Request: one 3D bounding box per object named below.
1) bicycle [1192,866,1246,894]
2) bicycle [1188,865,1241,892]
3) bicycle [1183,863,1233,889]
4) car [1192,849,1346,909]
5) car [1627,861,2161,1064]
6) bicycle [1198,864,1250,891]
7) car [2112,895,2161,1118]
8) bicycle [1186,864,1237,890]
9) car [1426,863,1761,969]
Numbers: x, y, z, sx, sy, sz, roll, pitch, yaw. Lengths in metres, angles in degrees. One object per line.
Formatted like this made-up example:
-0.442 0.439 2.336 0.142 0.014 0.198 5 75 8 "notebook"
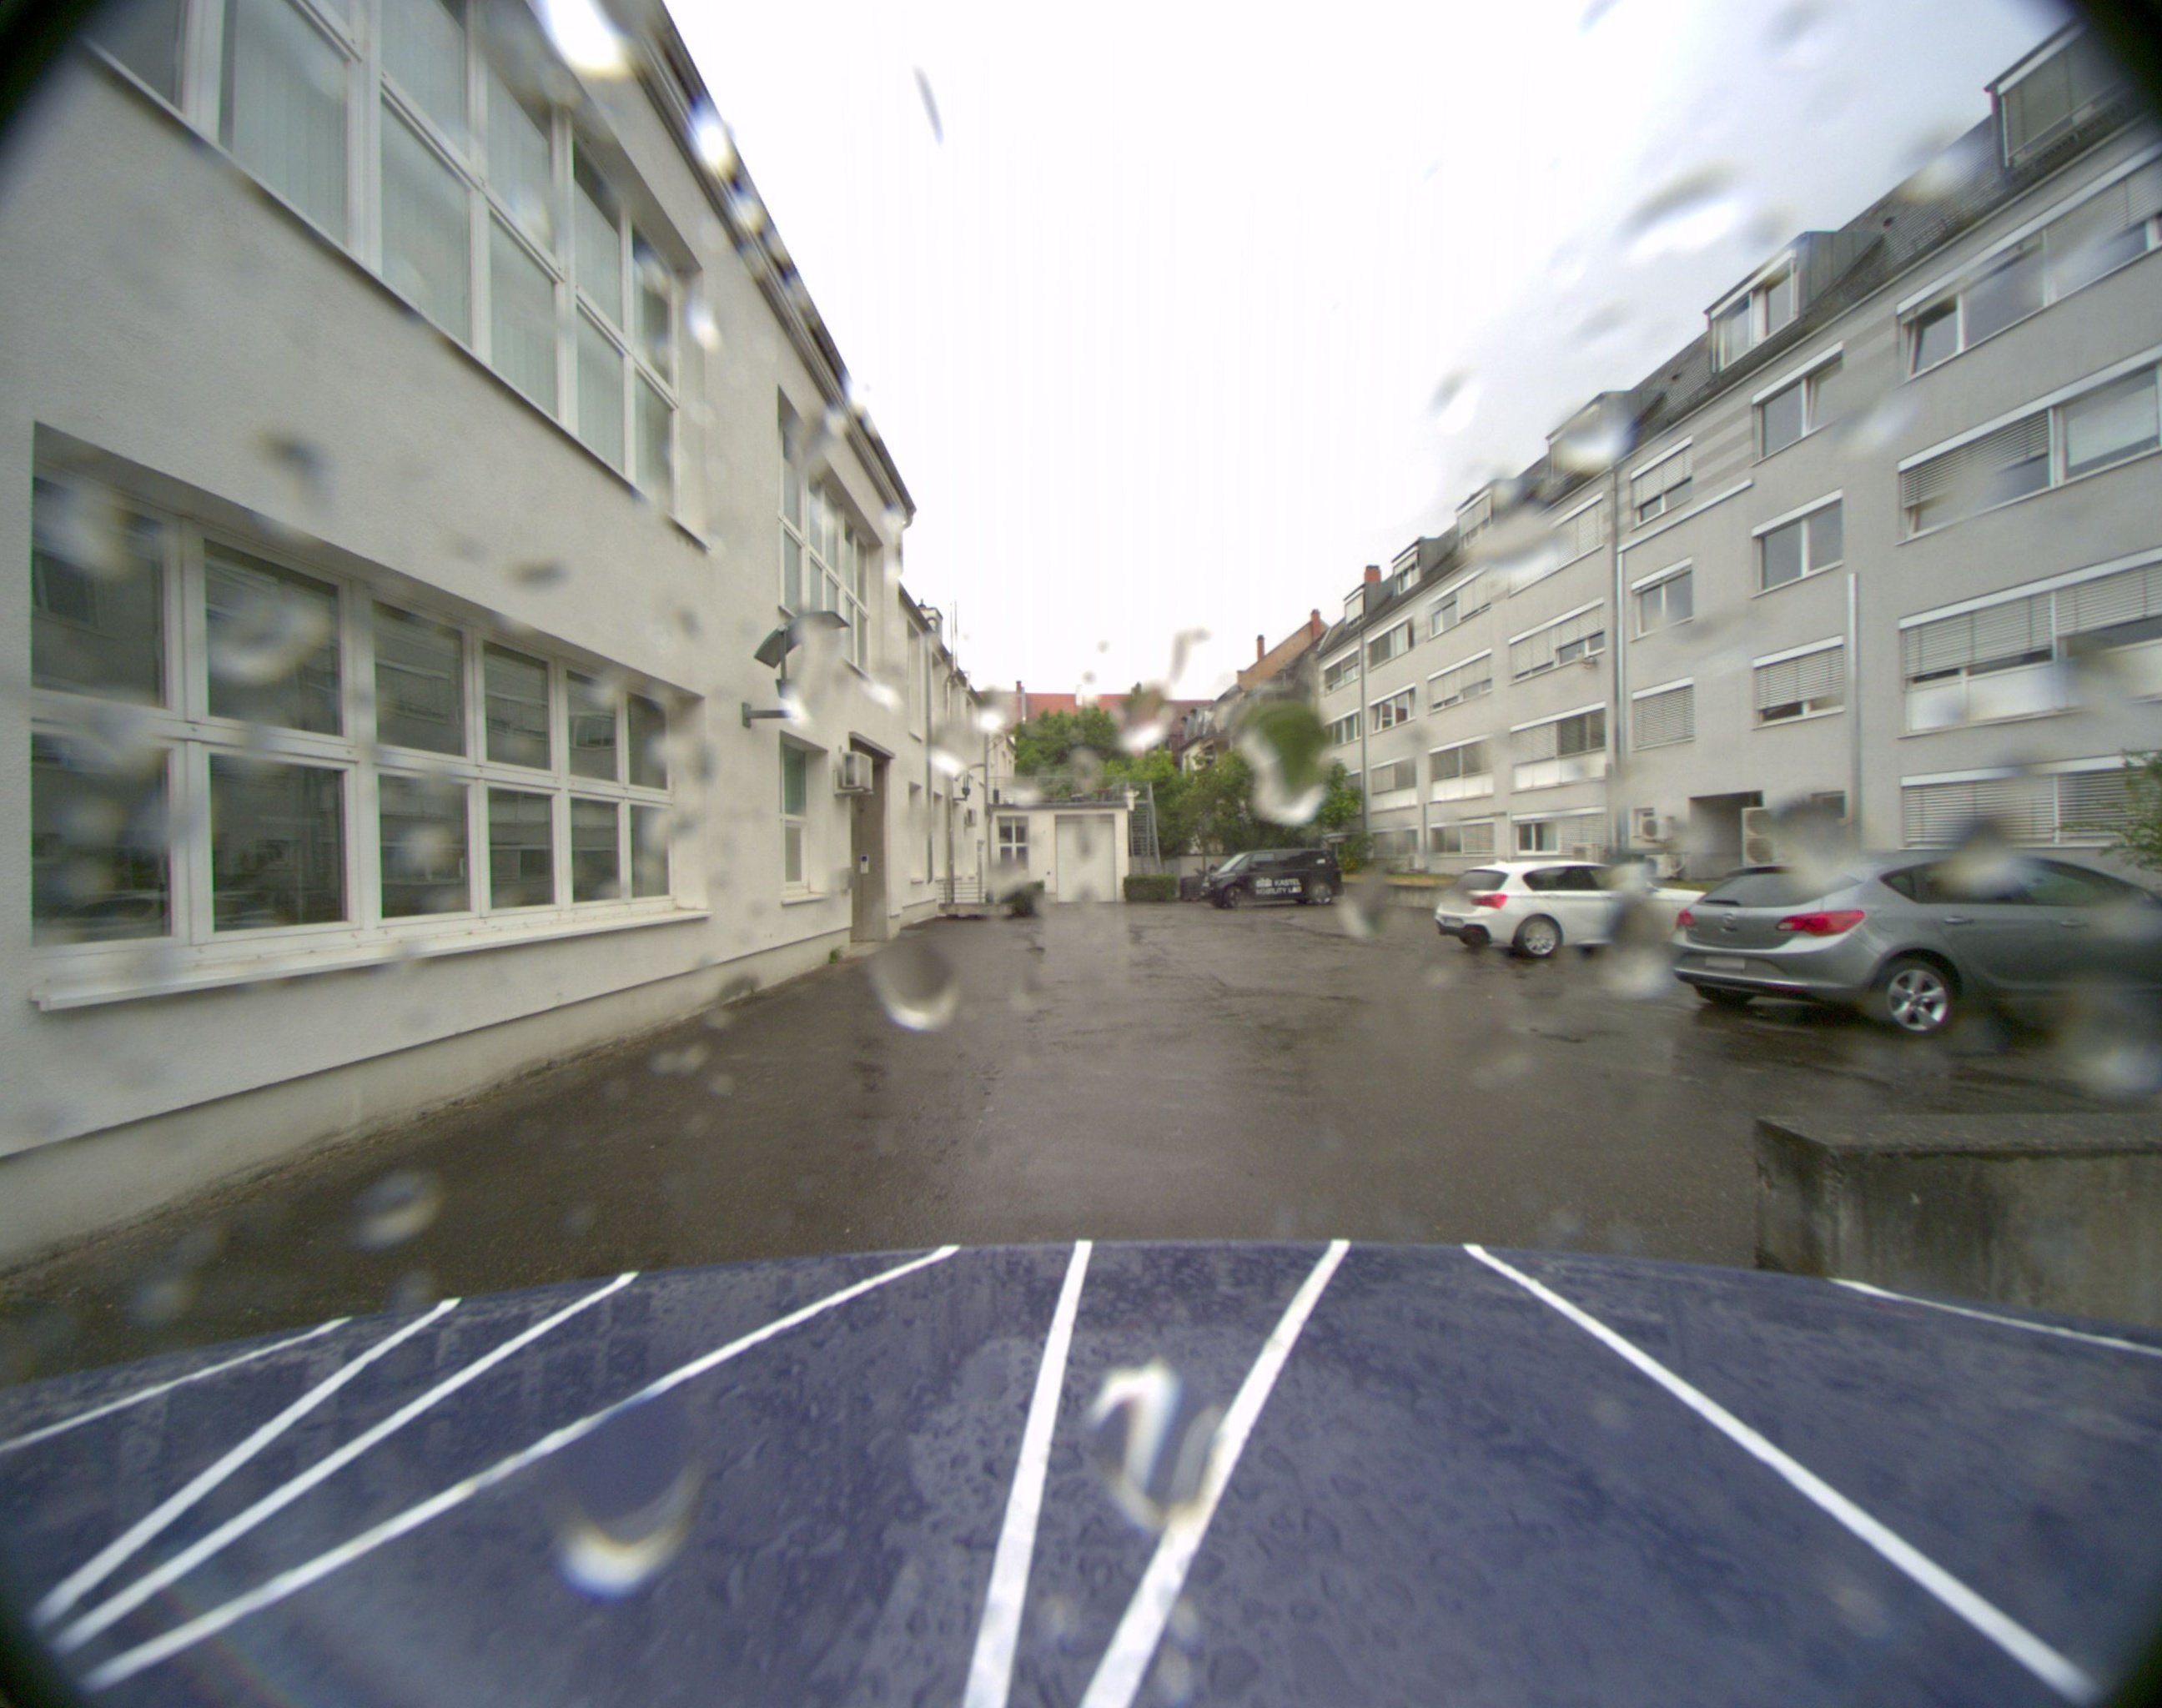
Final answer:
6.209 1.154 34.237 2.319 1.180 0.643 -1 2 2 "bicycle"
6.144 1.129 35.036 2.319 1.180 0.643 -1 2 2 "bicycle"
6.165 1.070 36.836 2.319 1.180 0.643 -1 2 2 "bicycle"
6.322 0.828 25.820 4.630 1.825 1.988 -1 -1 -6 "car"
7.594 0.839 6.797 4.177 1.475 1.822 -1 -1 -4 "car"
6.708 1.096 35.689 2.319 1.180 0.643 -1 2 2 "bicycle"
8.584 0.795 3.906 4.177 1.325 1.822 -3 -1 -2 "car"
6.203 1.090 36.203 2.319 1.180 0.643 -1 2 2 "bicycle"
7.885 0.907 11.936 4.151 1.425 1.752 -1 0 -4 "car"
